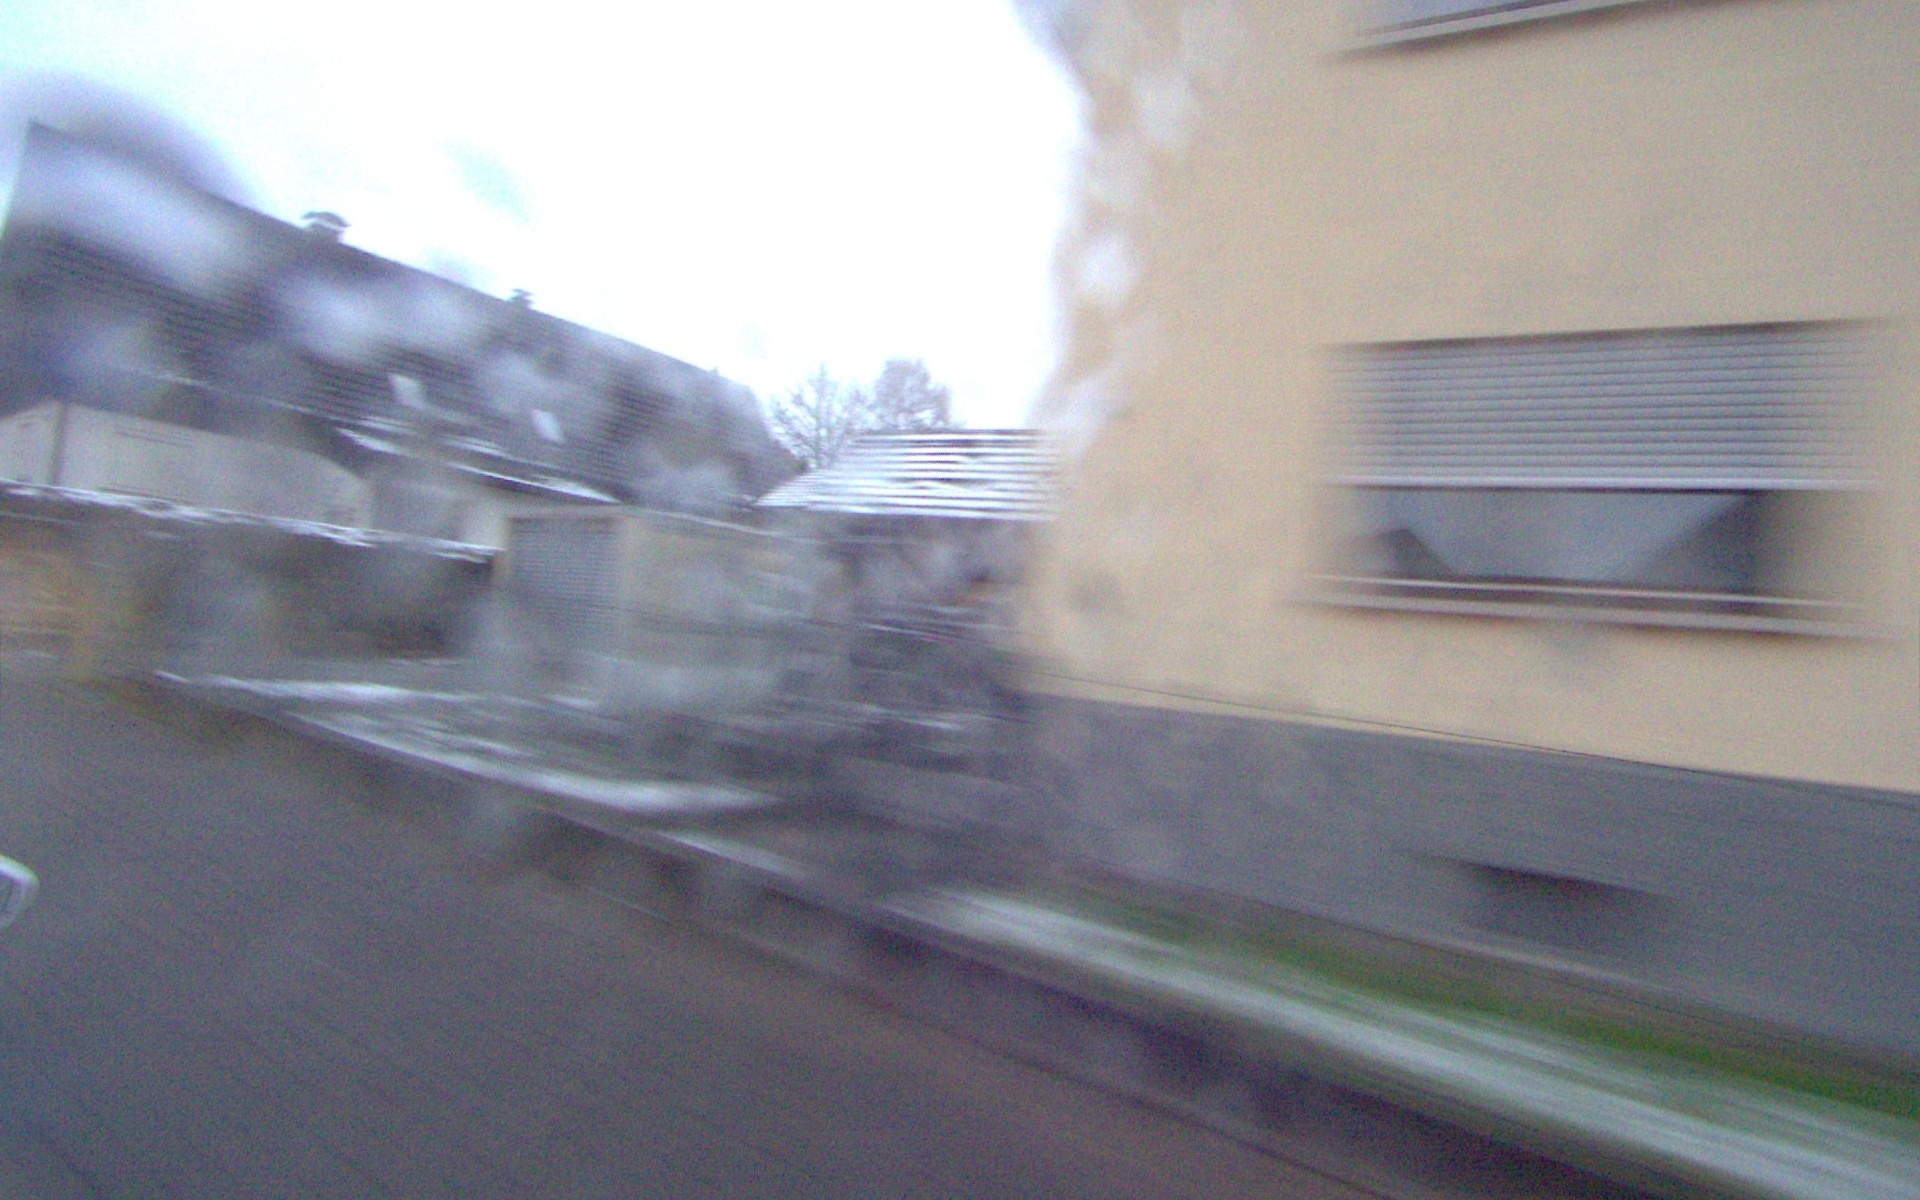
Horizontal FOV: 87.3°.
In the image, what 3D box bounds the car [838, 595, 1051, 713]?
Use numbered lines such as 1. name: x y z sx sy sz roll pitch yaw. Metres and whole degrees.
1. car: -0.123 0.957 17.361 1.965 1.611 3.998 6 -2 26
